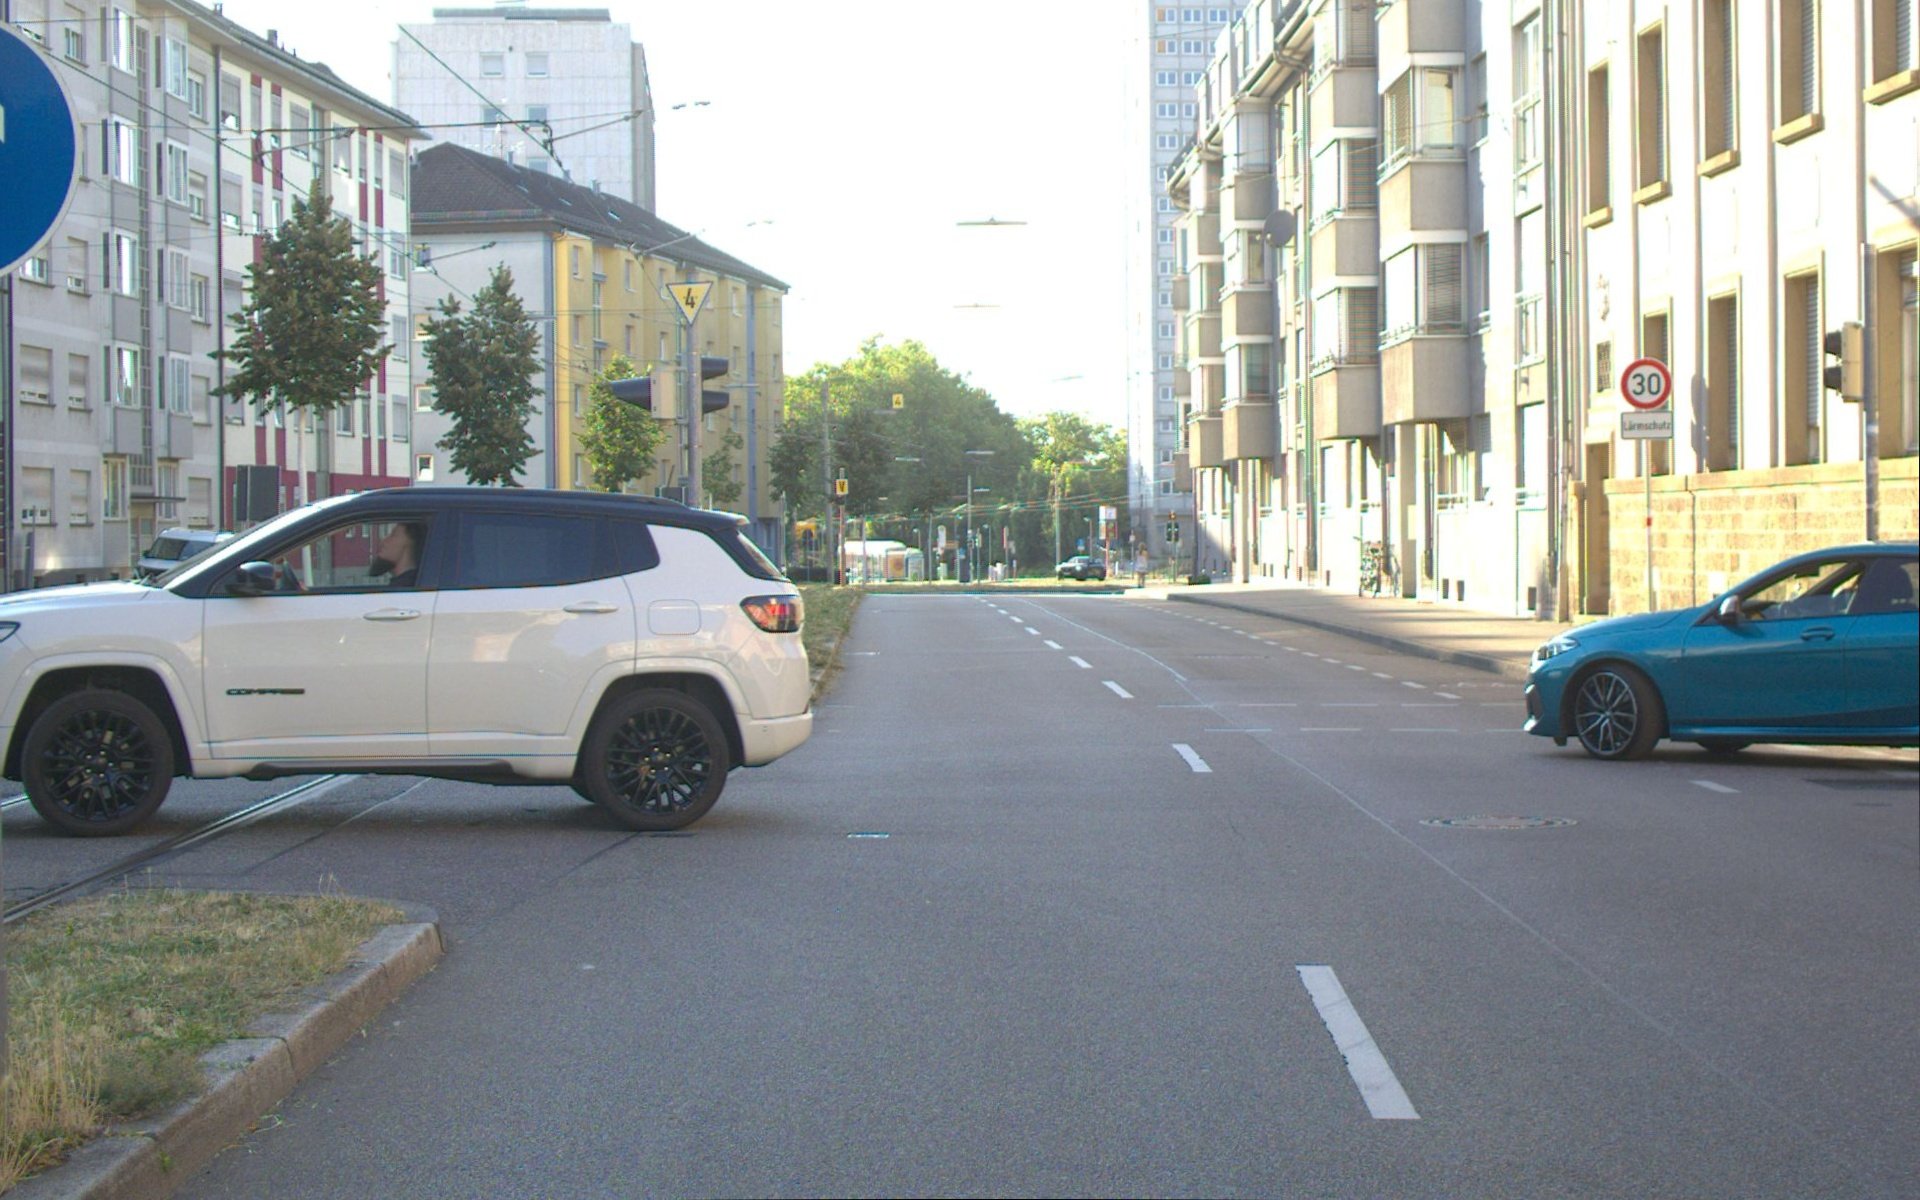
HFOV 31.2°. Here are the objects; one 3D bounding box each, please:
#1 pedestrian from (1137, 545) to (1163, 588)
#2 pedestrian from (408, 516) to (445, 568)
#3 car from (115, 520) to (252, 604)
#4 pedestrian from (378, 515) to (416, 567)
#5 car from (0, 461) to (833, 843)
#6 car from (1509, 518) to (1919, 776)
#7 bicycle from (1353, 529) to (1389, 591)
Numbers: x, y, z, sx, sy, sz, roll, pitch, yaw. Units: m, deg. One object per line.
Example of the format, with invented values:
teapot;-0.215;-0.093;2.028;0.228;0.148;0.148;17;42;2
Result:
pedestrian;5.580;-0.983;101.053;0.691;1.230;0.736;1;0;0
pedestrian;-17.459;-1.893;112.448;0.962;1.664;1.011;1;0;5
car;-18.391;-0.893;81.593;1.994;1.918;4.541;1;1;3
pedestrian;-18.324;-1.909;111.917;0.962;1.688;1.011;1;0;5
car;-2.971;0.213;17.130;4.378;1.729;2.001;-1;1;-12
car;5.947;0.280;21.905;4.388;1.549;1.996;1;1;35
bicycle;7.404;-0.716;62.001;0.383;1.092;1.504;-1;1;-3
